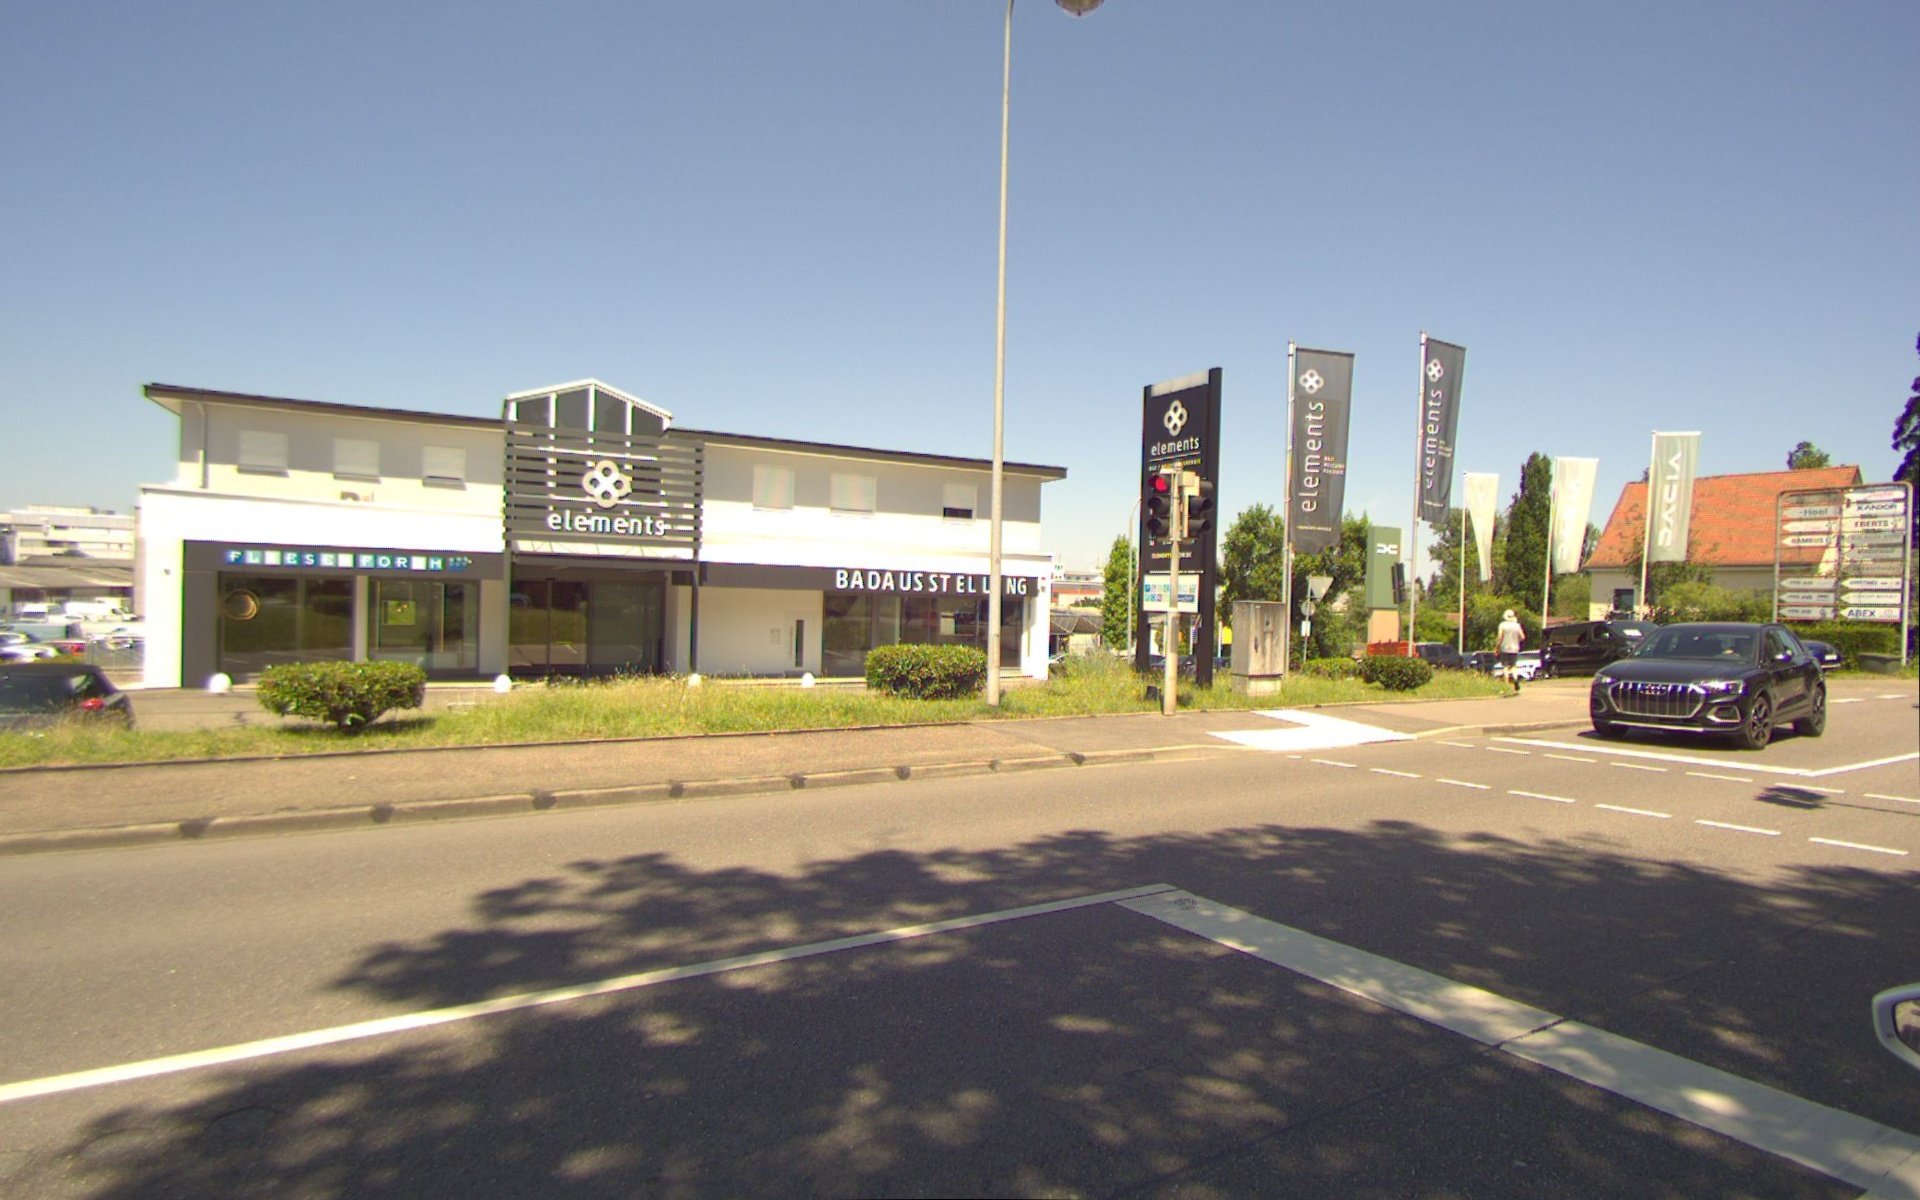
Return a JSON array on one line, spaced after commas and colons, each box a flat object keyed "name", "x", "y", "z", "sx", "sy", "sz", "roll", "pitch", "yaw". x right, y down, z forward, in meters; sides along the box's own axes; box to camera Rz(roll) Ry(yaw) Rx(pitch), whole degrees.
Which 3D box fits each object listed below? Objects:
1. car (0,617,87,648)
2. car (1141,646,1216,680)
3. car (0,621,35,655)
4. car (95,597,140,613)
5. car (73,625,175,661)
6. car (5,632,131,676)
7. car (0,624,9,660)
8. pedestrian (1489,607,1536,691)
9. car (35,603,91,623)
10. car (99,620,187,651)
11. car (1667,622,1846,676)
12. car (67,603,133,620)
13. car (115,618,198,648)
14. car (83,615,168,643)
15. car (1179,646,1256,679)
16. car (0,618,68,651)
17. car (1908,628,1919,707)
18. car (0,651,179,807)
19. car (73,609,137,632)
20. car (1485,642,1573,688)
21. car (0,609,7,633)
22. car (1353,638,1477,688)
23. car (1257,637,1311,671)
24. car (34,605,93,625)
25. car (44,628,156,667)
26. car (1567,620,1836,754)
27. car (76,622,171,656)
[{"name": "car", "x": -54.695, "y": 1.922, "z": 59.804, "sx": 3.726, "sy": 1.778, "sz": 1.719, "roll": 2, "pitch": -1, "yaw": -28}, {"name": "car", "x": 10.959, "y": 3.112, "z": 50.189, "sx": 3.973, "sy": 1.506, "sz": 1.735, "roll": 2, "pitch": -1, "yaw": -44}, {"name": "car", "x": -51.426, "y": 1.986, "z": 52.787, "sx": 3.726, "sy": 1.778, "sz": 1.719, "roll": 2, "pitch": -1, "yaw": -28}, {"name": "car", "x": -100.172, "y": 0.622, "z": 119.481, "sx": 3.726, "sy": 1.778, "sz": 1.719, "roll": 2, "pitch": -1, "yaw": -28}, {"name": "car", "x": -43.182, "y": 2.232, "z": 52.003, "sx": 3.726, "sy": 1.778, "sz": 1.719, "roll": 2, "pitch": -1, "yaw": -28}, {"name": "car", "x": -38.745, "y": 2.327, "z": 43.757, "sx": 3.726, "sy": 1.778, "sz": 1.719, "roll": 2, "pitch": -1, "yaw": -28}, {"name": "car", "x": -49.207, "y": 2.059, "z": 48.964, "sx": 3.726, "sy": 1.778, "sz": 1.719, "roll": 2, "pitch": -1, "yaw": -28}, {"name": "pedestrian", "x": 11.936, "y": 1.056, "z": 21.710, "sx": 0.689, "sy": 1.785, "sz": 0.545, "roll": 1, "pitch": 0, "yaw": -4}, {"name": "car", "x": -88.191, "y": 1.283, "z": 98.765, "sx": 3.726, "sy": 1.778, "sz": 1.719, "roll": 2, "pitch": -1, "yaw": -28}, {"name": "car", "x": -48.529, "y": 2.102, "z": 59.744, "sx": 3.726, "sy": 1.778, "sz": 1.719, "roll": 2, "pitch": -1, "yaw": -28}, {"name": "car", "x": 24.959, "y": 1.498, "z": 31.646, "sx": 1.751, "sy": 1.524, "sz": 4.129, "roll": 1, "pitch": -1, "yaw": -20}, {"name": "car", "x": -96.061, "y": 1.314, "z": 112.293, "sx": 5.236, "sy": 1.778, "sz": 2.051, "roll": 2, "pitch": -1, "yaw": -28}, {"name": "car", "x": -49.875, "y": 2.080, "z": 62.423, "sx": 3.726, "sy": 1.778, "sz": 1.719, "roll": 2, "pitch": -1, "yaw": -28}, {"name": "car", "x": -55.186, "y": 1.935, "z": 66.490, "sx": 4.004, "sy": 1.778, "sz": 1.719, "roll": 2, "pitch": -1, "yaw": -28}, {"name": "car", "x": 12.292, "y": 2.954, "z": 47.828, "sx": 3.837, "sy": 1.434, "sz": 1.633, "roll": 2, "pitch": -1, "yaw": -41}, {"name": "car", "x": -53.435, "y": 1.944, "z": 57.103, "sx": 3.726, "sy": 1.778, "sz": 1.719, "roll": 2, "pitch": -1, "yaw": -28}, {"name": "car", "x": 20.601, "y": 1.351, "z": 19.890, "sx": 4.011, "sy": 1.527, "sz": 1.857, "roll": 2, "pitch": -1, "yaw": -34}, {"name": "car", "x": -11.710, "y": 1.512, "z": 12.852, "sx": 1.746, "sy": 1.553, "sz": 4.076, "roll": 1, "pitch": -1, "yaw": -24}, {"name": "car", "x": -71.030, "y": 1.729, "z": 83.493, "sx": 3.726, "sy": 1.778, "sz": 1.719, "roll": 2, "pitch": 0, "yaw": -28}, {"name": "car", "x": 23.915, "y": 2.685, "z": 42.196, "sx": 4.053, "sy": 1.744, "sz": 1.795, "roll": 2, "pitch": 0, "yaw": -38}, {"name": "car", "x": -74.814, "y": 1.577, "z": 75.844, "sx": 3.726, "sy": 1.778, "sz": 1.719, "roll": 2, "pitch": -1, "yaw": -28}, {"name": "car", "x": 17.092, "y": 2.357, "z": 37.758, "sx": 4.022, "sy": 1.744, "sz": 1.808, "roll": 2, "pitch": 0, "yaw": -16}, {"name": "car", "x": 18.708, "y": 3.080, "z": 57.923, "sx": 1.785, "sy": 1.744, "sz": 4.075, "roll": 1, "pitch": 0, "yaw": 36}, {"name": "car", "x": -84.274, "y": 1.434, "z": 94.482, "sx": 3.726, "sy": 1.778, "sz": 1.719, "roll": 2, "pitch": -1, "yaw": -28}, {"name": "car", "x": -41.144, "y": 2.275, "z": 48.181, "sx": 3.726, "sy": 1.778, "sz": 1.719, "roll": 2, "pitch": -1, "yaw": -28}, {"name": "car", "x": 10.468, "y": 1.106, "z": 14.088, "sx": 4.263, "sy": 1.576, "sz": 1.912, "roll": 2, "pitch": -1, "yaw": -37}, {"name": "car", "x": -46.372, "y": 2.156, "z": 55.780, "sx": 3.726, "sy": 1.778, "sz": 1.719, "roll": 2, "pitch": -1, "yaw": -28}]
